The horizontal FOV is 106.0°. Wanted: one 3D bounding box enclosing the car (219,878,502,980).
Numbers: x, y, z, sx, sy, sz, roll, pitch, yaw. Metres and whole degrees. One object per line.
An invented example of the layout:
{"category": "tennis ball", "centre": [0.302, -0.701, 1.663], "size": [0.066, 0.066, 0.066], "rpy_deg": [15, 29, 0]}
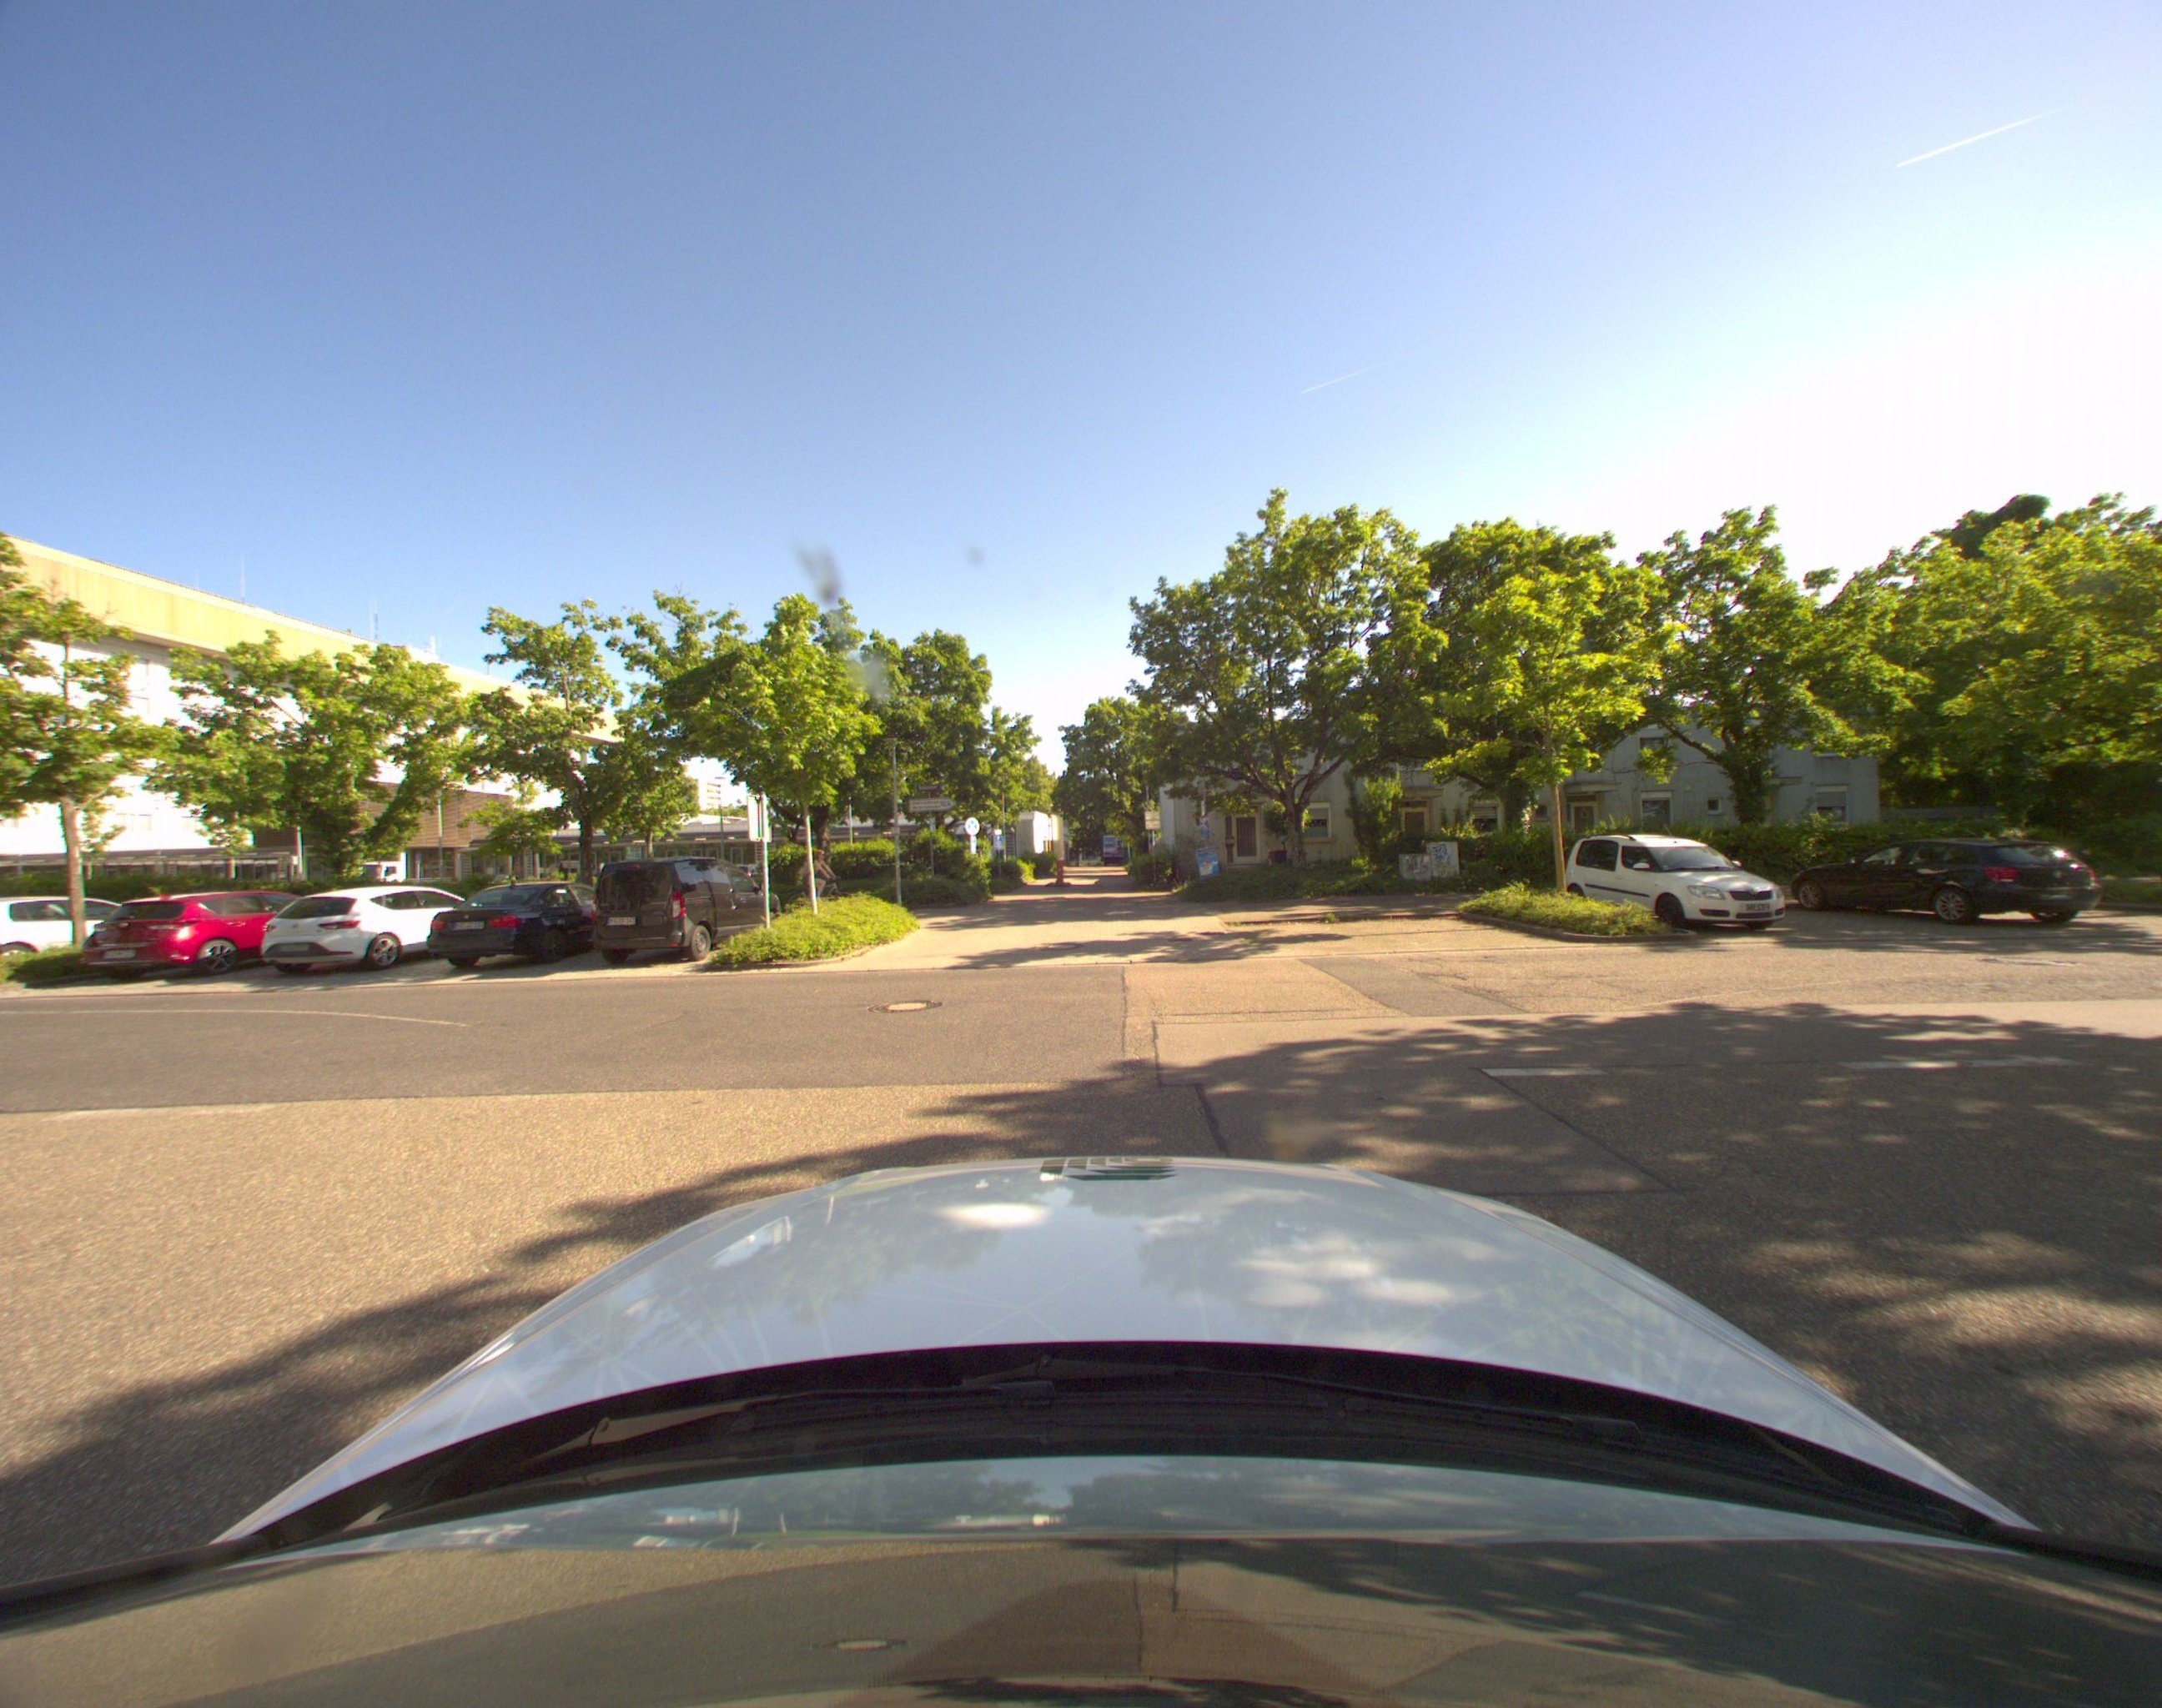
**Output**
{"category": "car", "centre": [-13.320, 1.296, 15.442], "size": [1.796, 1.436, 3.913], "rpy_deg": [-2, 1, 1]}

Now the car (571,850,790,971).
{"category": "car", "centre": [-7.333, 0.925, 15.478], "size": [1.866, 1.846, 4.171], "rpy_deg": [-2, 1, 2]}

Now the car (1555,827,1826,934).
{"category": "car", "centre": [10.737, 0.379, 14.808], "size": [1.817, 1.597, 4.169], "rpy_deg": [-2, 1, 1]}

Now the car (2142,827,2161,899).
{"category": "car", "centre": [22.163, 0.185, 14.240], "size": [1.817, 1.406, 4.169], "rpy_deg": [-2, 1, 1]}

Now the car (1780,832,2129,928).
{"category": "car", "centre": [15.234, 0.359, 14.614], "size": [1.817, 1.406, 4.169], "rpy_deg": [-2, 1, 1]}

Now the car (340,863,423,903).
{"category": "car", "centre": [-47.434, 1.920, 55.329], "size": [2.215, 2.490, 3.650], "rpy_deg": [-2, 0, 4]}

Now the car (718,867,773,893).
{"category": "car", "centre": [-22.775, 1.741, 55.467], "size": [1.828, 1.497, 3.912], "rpy_deg": [-2, 0, 4]}

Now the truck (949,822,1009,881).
{"category": "truck", "centre": [-6.956, -0.193, 56.621], "size": [2.790, 3.806, 6.932], "rpy_deg": [-1, 0, 4]}

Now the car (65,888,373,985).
{"category": "car", "centre": [-16.121, 1.456, 15.578], "size": [1.661, 1.426, 3.912], "rpy_deg": [-1, 0, 1]}

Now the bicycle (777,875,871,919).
{"category": "bicycle", "centre": [-6.236, 1.044, 19.826], "size": [2.074, 0.996, 0.596], "rpy_deg": [-1, 0, 2]}

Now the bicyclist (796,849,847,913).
{"category": "bicyclist", "centre": [-6.308, 0.645, 19.834], "size": [1.007, 1.523, 0.596], "rpy_deg": [-1, 0, 2]}

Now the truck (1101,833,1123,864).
{"category": "truck", "centre": [4.238, -0.718, 109.891], "size": [2.748, 3.869, 9.336], "rpy_deg": [-1, 0, 3]}

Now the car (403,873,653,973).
{"category": "car", "centre": [-10.233, 1.192, 15.552], "size": [1.817, 1.406, 4.169], "rpy_deg": [-2, 1, 1]}

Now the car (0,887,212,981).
{"category": "car", "centre": [-20.636, 1.549, 16.565], "size": [1.668, 1.578, 3.912], "rpy_deg": [-1, 0, 1]}
